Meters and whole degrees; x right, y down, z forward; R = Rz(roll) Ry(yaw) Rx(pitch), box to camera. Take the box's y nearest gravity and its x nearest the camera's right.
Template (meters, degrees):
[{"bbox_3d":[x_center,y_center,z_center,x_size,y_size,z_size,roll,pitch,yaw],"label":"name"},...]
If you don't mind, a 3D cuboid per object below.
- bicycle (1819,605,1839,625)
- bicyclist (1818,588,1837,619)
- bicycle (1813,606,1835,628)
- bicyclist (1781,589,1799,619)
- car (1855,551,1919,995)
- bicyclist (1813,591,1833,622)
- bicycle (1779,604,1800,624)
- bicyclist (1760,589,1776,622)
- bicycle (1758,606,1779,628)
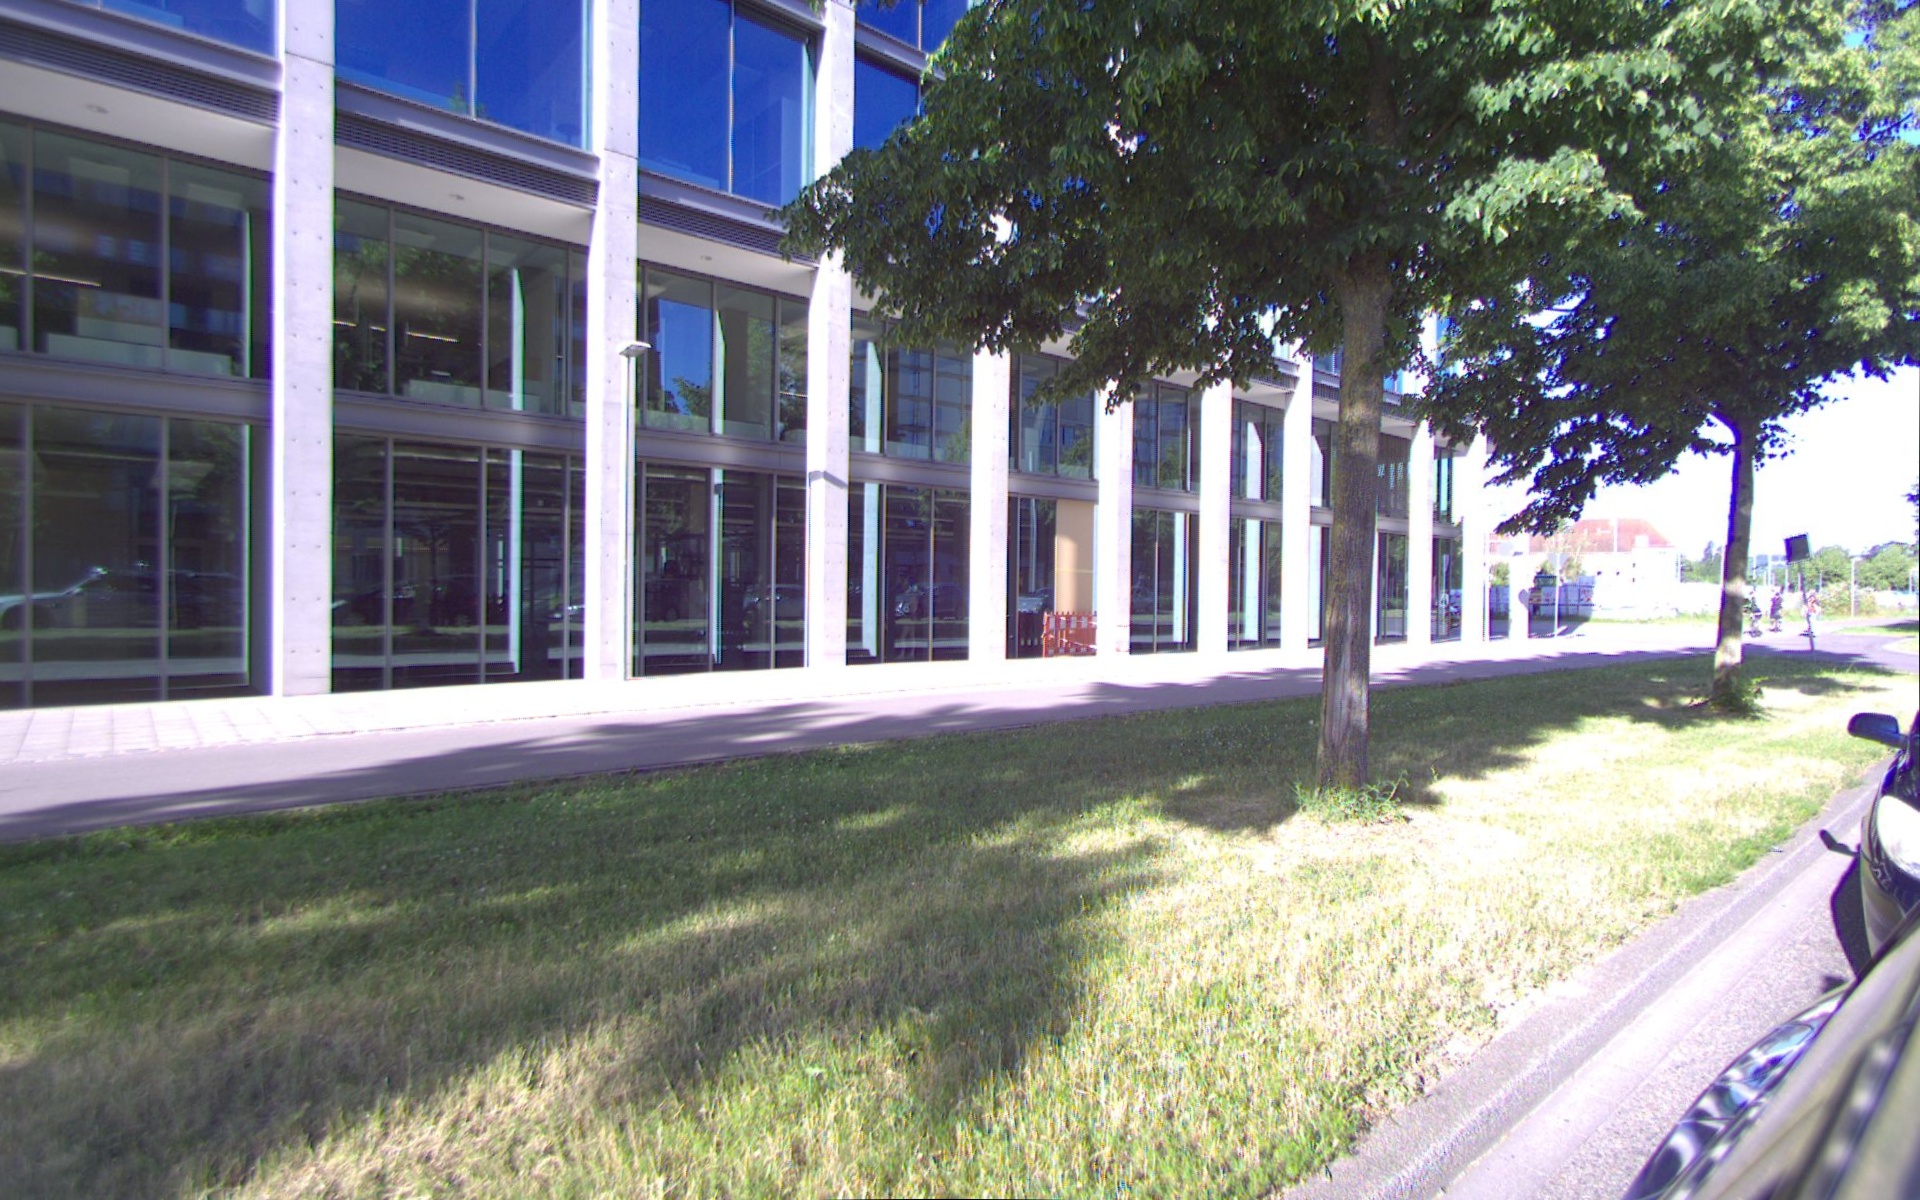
[{"bbox_3d":[37.478,0.635,43.647,1.321,0.828,0.464,-1,0,-40],"label":"bicycle"},{"bbox_3d":[37.450,0.155,43.676,0.512,1.305,0.534,-1,0,-40],"label":"bicyclist"},{"bbox_3d":[34.553,0.688,40.463,1.321,0.828,0.464,-1,0,-40],"label":"bicycle"},{"bbox_3d":[36.377,0.156,44.348,0.449,1.305,0.534,-1,0,-40],"label":"bicyclist"},{"bbox_3d":[5.175,0.602,4.217,3.719,1.541,1.685,0,1,-41],"label":"car"},{"bbox_3d":[34.577,0.255,40.533,0.498,1.232,0.534,-1,0,-40],"label":"bicyclist"},{"bbox_3d":[36.401,0.617,44.407,1.321,0.828,0.464,-1,0,-40],"label":"bicycle"},{"bbox_3d":[33.063,0.221,41.414,0.410,1.305,0.448,-1,0,-40],"label":"bicyclist"},{"bbox_3d":[33.064,0.689,41.392,1.297,0.828,0.415,-1,0,-40],"label":"bicycle"}]
